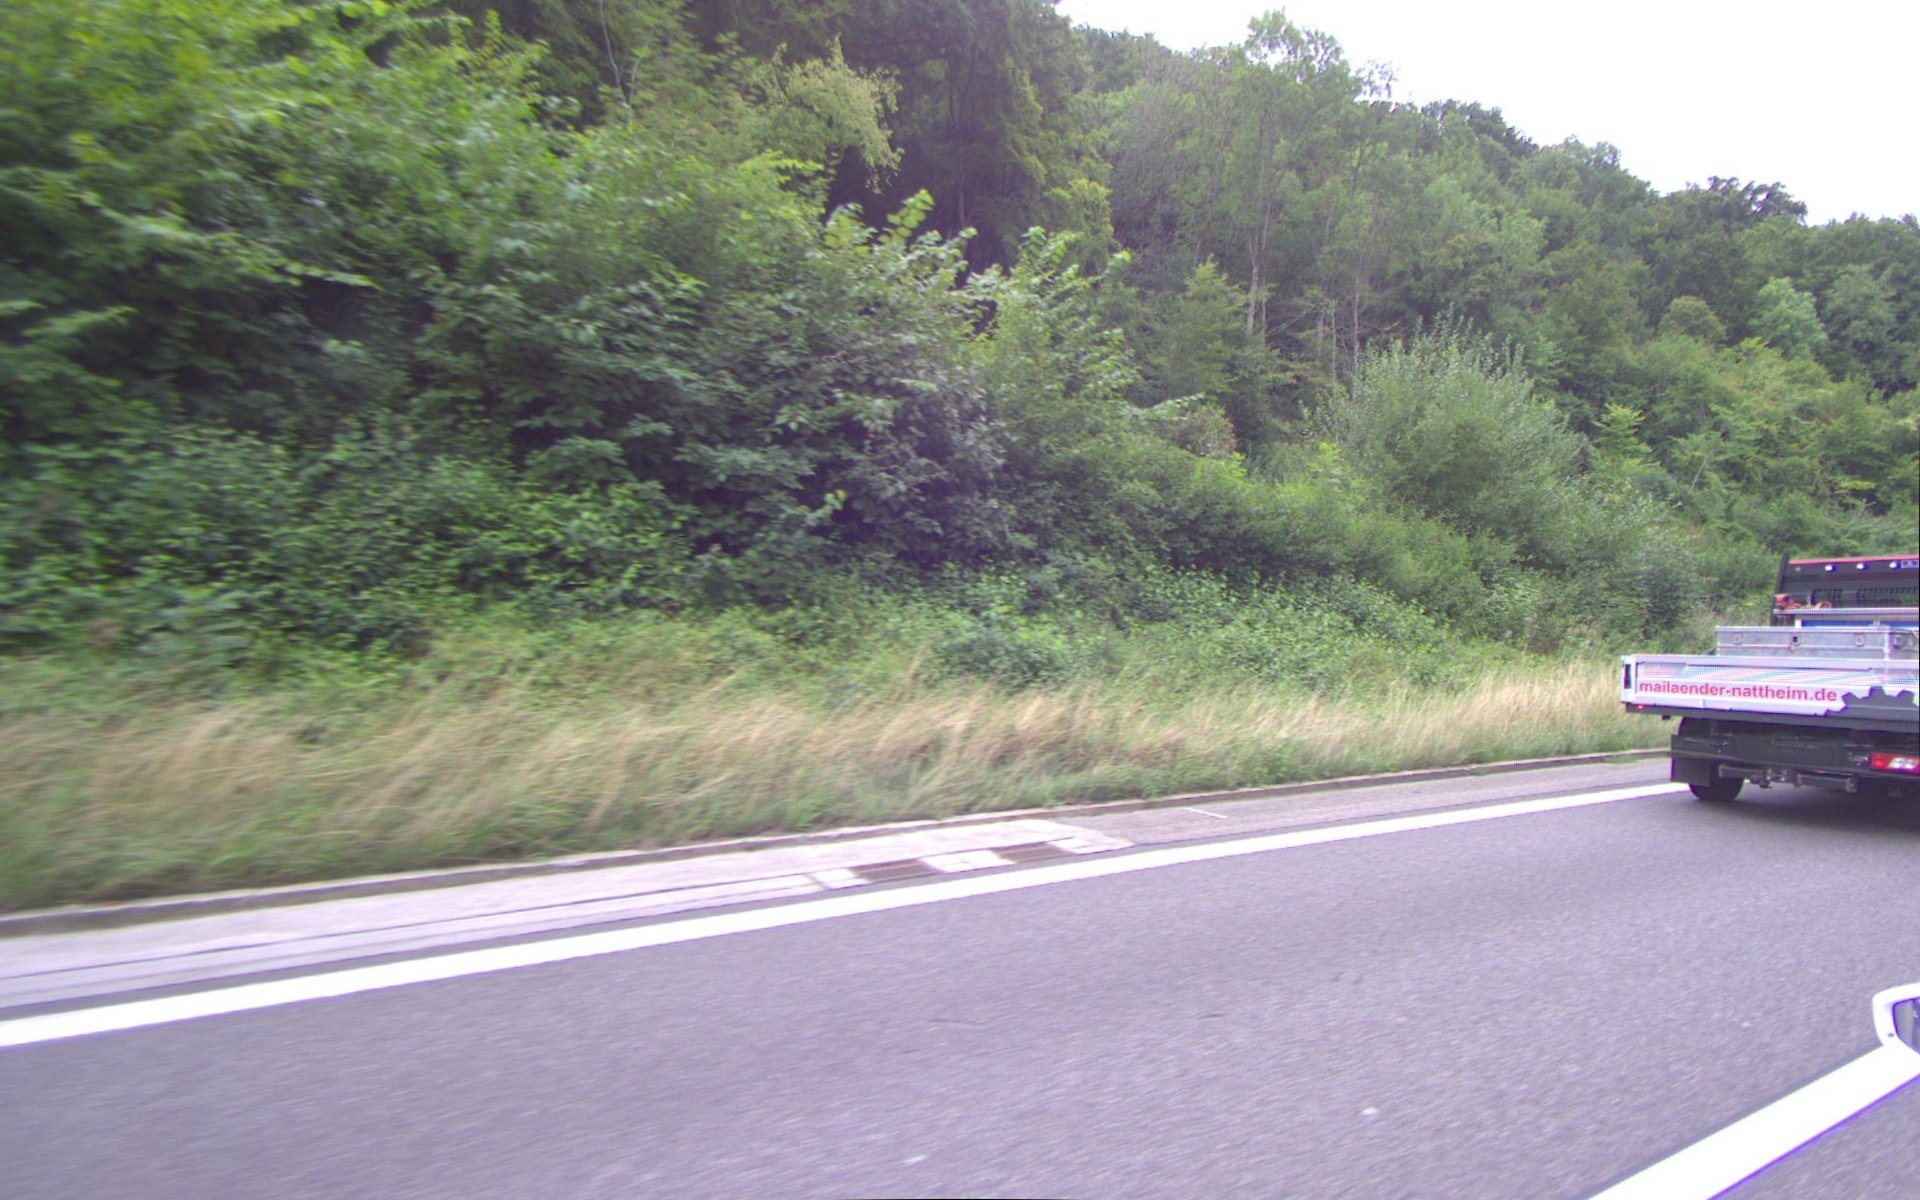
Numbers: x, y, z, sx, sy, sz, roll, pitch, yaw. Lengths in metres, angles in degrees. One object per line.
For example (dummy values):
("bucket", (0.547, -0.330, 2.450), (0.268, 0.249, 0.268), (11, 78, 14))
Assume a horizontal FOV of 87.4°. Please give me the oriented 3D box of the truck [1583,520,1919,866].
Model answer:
("truck", (8.801, 0.731, 9.297), (6.771, 2.303, 2.338), (2, -3, -31))
